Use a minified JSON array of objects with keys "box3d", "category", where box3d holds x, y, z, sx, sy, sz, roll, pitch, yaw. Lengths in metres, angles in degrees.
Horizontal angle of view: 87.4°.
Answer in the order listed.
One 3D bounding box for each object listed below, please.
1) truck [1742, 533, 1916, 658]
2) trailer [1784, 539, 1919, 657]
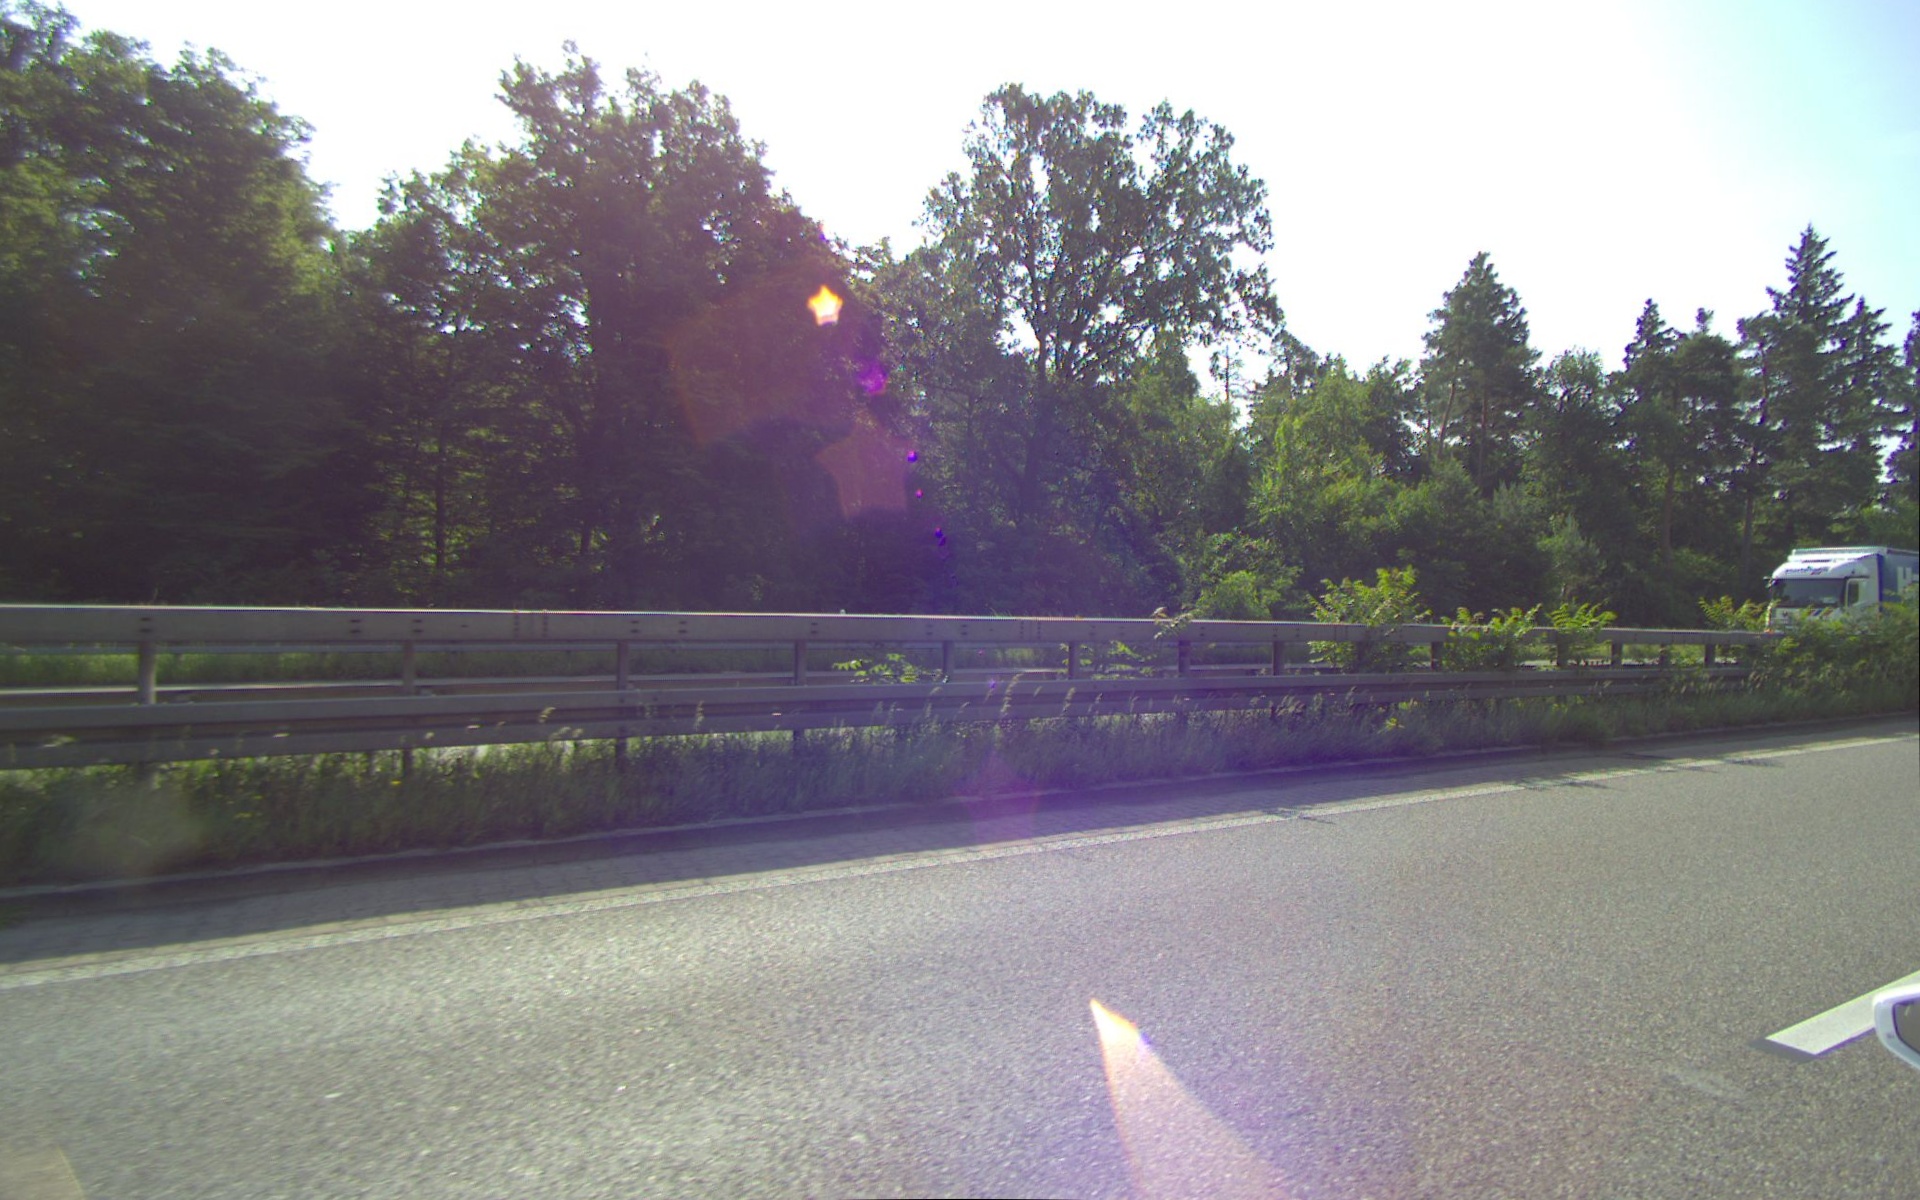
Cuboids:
[{"box3d":[30.831,-0.049,35.609,5.954,4.085,2.879,1,-2,-30],"category":"truck"},{"box3d":[36.735,0.087,39.064,13.167,4.061,2.879,1,-2,-31],"category":"trailer"}]
